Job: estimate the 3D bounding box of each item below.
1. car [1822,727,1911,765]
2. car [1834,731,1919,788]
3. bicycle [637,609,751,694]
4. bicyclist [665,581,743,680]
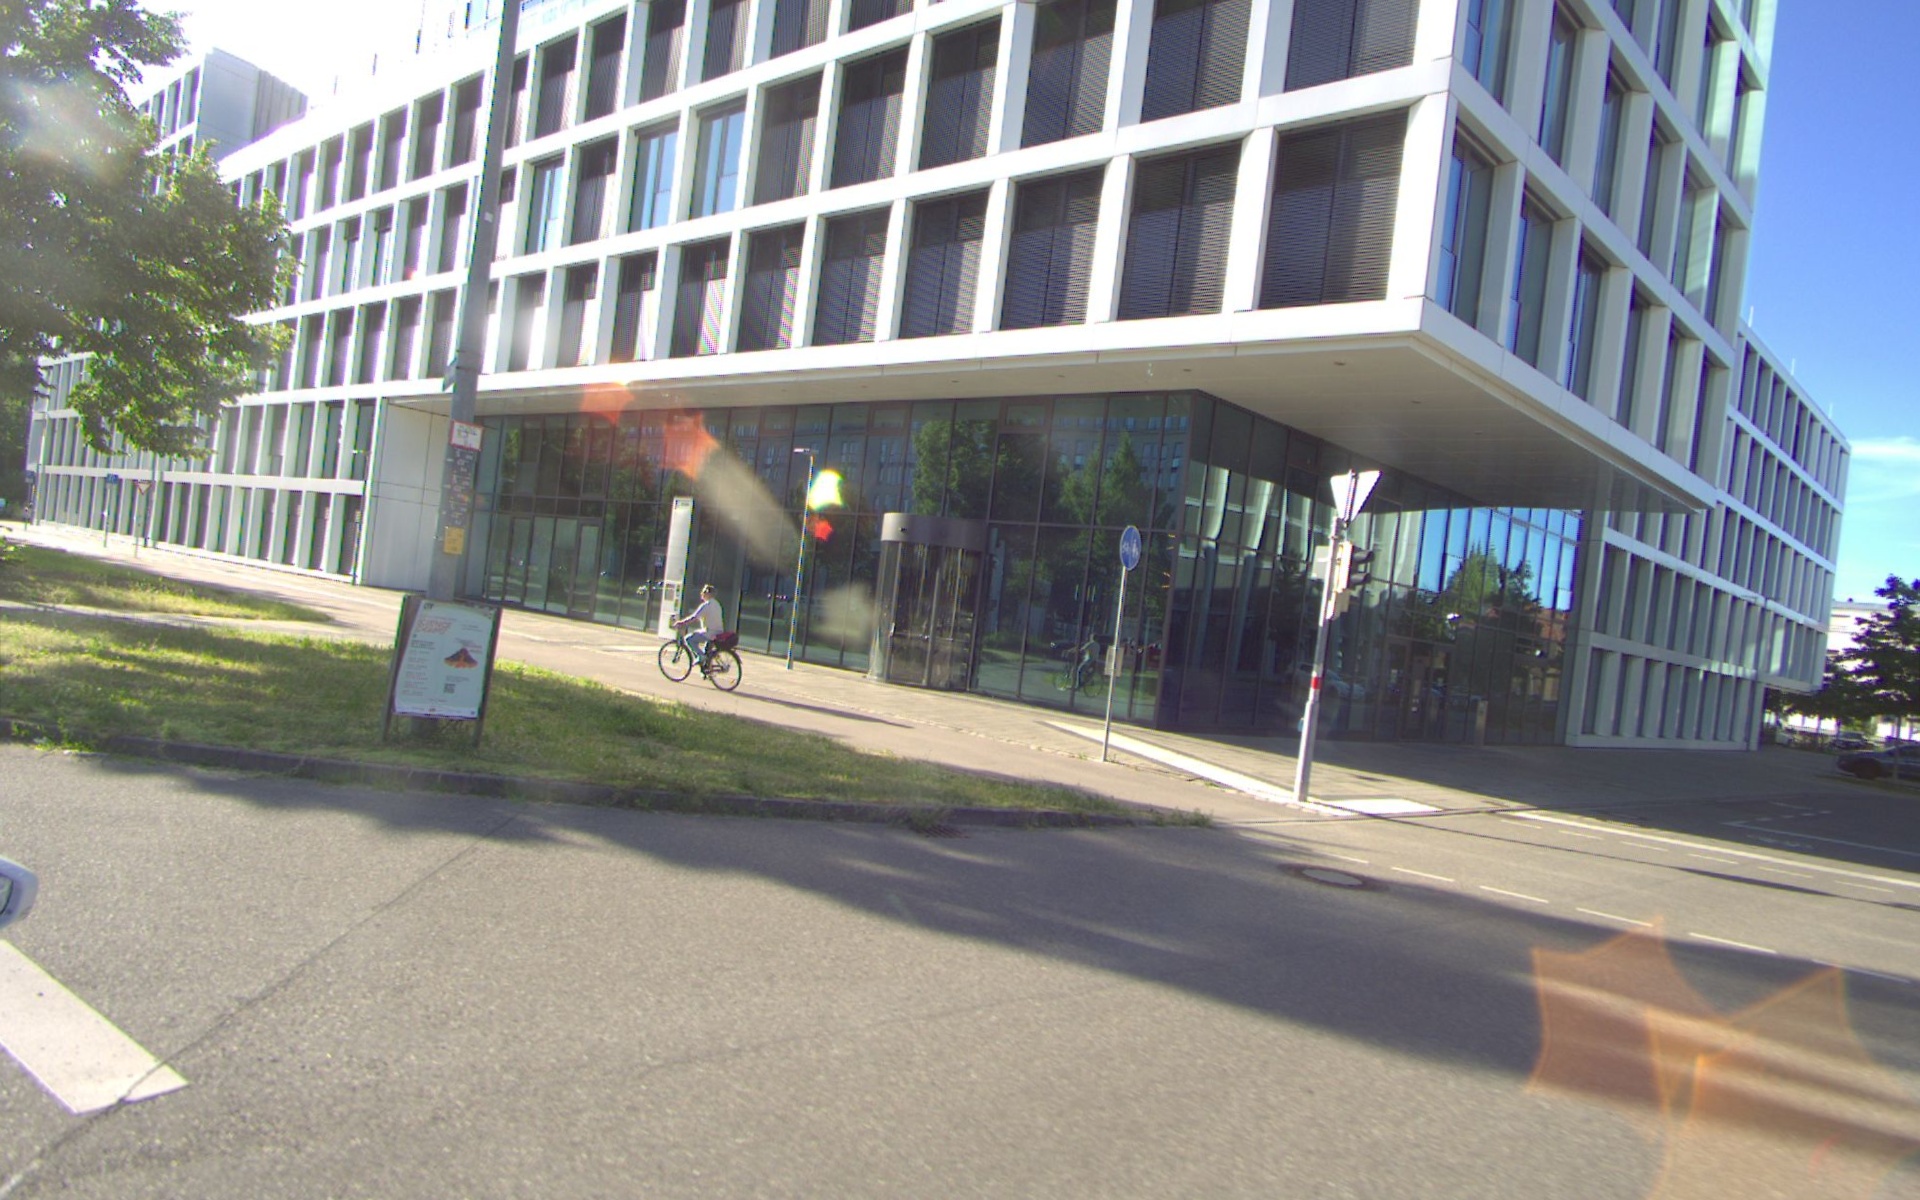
[{"bbox_3d":[60.647,9.744,67.350,1.855,1.815,4.085,7,-1,-39],"label":"car"},{"bbox_3d":[36.237,6.212,38.217,1.648,1.734,4.246,7,-1,-40],"label":"car"},{"bbox_3d":[-4.551,0.864,17.124,1.931,1.188,0.741,7,0,37],"label":"bicycle"},{"bbox_3d":[-4.303,0.513,16.943,0.837,1.550,0.771,7,1,37],"label":"bicyclist"}]
